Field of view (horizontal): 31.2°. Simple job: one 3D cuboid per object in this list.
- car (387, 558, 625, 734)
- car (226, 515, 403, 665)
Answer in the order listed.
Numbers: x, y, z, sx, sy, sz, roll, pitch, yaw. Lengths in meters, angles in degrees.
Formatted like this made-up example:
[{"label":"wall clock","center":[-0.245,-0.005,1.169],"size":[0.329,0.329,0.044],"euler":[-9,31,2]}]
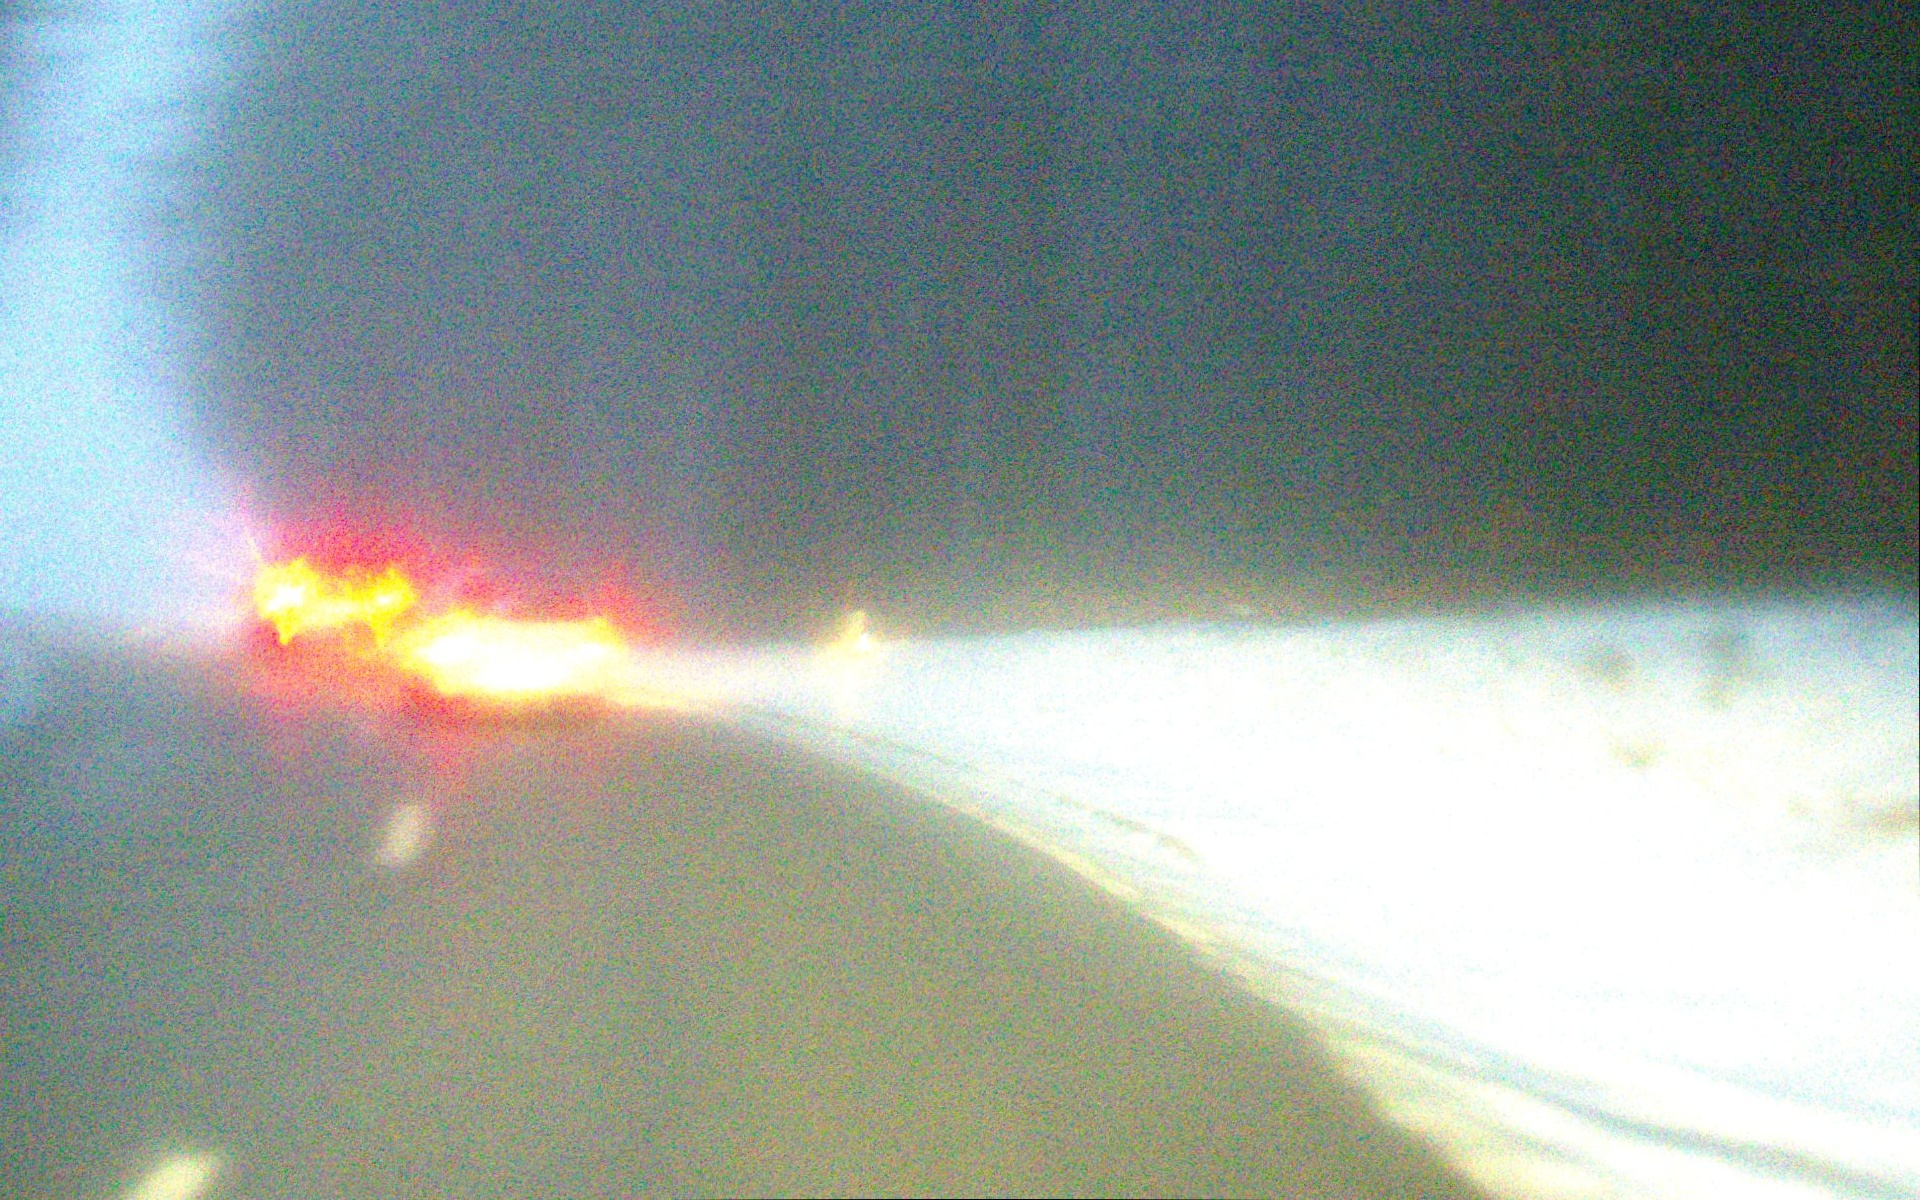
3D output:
[{"label":"car","center":[-4.255,0.423,32.053],"size":[1.945,1.376,4.001],"euler":[5,-1,-8]},{"label":"car","center":[-9.044,-0.114,47.949],"size":[1.993,1.777,4.001],"euler":[7,-2,-14]}]
